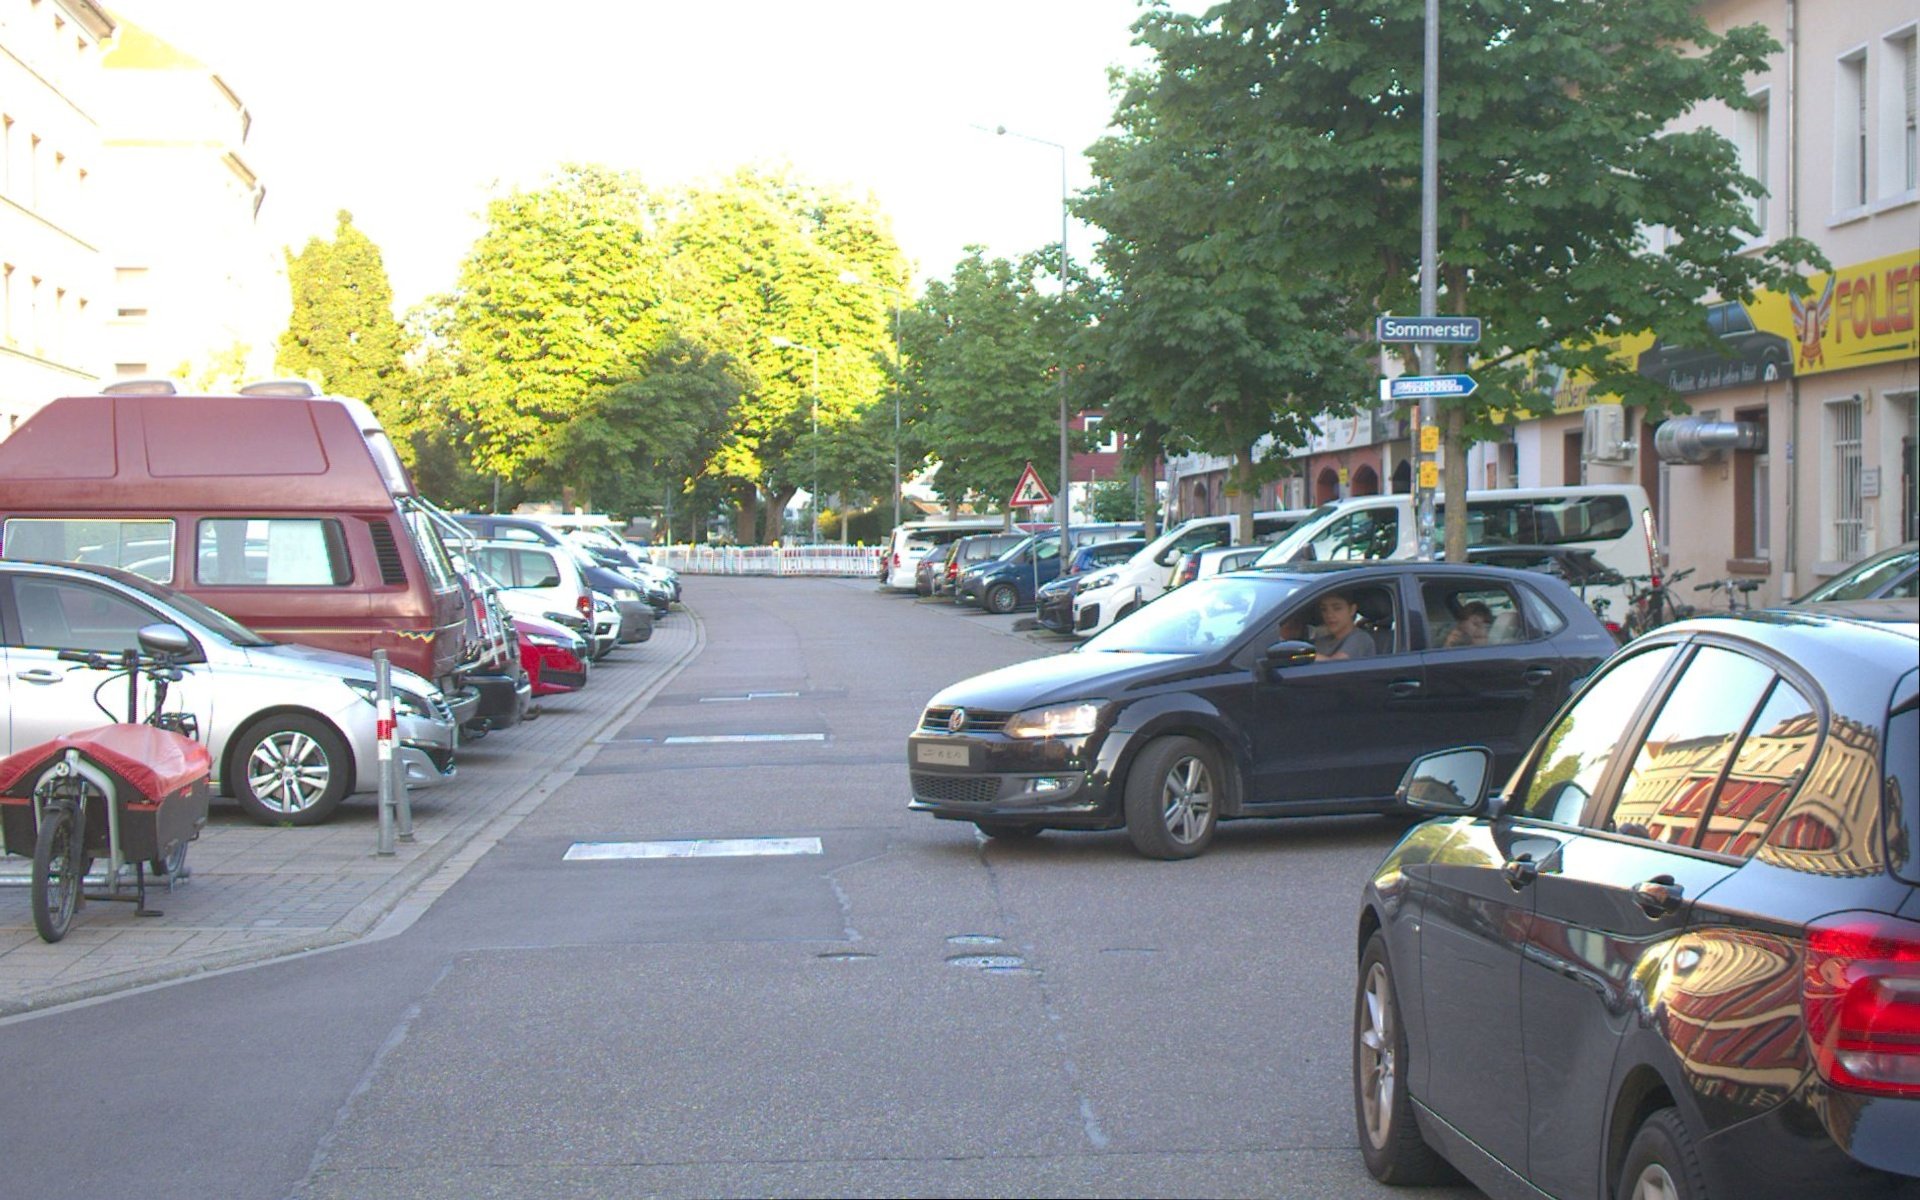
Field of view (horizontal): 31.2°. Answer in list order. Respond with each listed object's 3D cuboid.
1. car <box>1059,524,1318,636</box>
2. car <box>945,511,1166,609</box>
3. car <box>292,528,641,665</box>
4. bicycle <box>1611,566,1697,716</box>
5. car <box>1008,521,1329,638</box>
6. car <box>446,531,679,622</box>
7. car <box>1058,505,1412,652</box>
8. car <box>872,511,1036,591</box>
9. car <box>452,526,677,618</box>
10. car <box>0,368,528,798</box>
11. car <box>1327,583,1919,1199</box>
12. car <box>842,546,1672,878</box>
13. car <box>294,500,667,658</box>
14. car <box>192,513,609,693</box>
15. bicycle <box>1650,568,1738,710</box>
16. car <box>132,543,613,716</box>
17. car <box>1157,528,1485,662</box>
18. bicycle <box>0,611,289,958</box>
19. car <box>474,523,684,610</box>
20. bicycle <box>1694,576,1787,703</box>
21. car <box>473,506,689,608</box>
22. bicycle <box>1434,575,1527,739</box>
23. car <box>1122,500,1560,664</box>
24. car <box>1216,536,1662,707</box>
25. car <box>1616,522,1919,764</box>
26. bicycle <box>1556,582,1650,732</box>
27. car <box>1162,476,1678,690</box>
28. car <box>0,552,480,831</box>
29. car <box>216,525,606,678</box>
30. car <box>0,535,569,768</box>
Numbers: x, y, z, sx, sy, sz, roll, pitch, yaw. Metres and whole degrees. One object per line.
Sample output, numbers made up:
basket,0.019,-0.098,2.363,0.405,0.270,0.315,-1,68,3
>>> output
car,4.023,-0.371,60.921,4.316,1.798,1.811,-2,1,-3
car,2.031,-0.867,73.583,4.478,1.905,1.688,-2,1,-6
car,-6.340,-0.058,44.508,4.256,1.646,1.888,1,1,-2
bicycle,5.808,0.328,28.834,0.353,1.196,1.481,-1,1,-2
car,3.351,-0.346,55.987,4.943,1.683,2.077,-2,1,-3
car,-7.529,-0.462,65.391,4.256,1.616,2.000,1,1,-3
car,4.042,-0.338,51.139,4.943,1.951,2.049,-2,1,-3
car,-0.179,-1.280,88.980,3.967,1.905,2.050,-2,1,-6
car,-7.806,-0.565,68.125,4.256,1.709,2.000,1,1,-2
car,-5.178,-0.136,22.099,4.511,2.575,2.000,1,1,0
car,1.893,0.722,6.631,1.721,1.419,4.254,1,1,-2
car,1.535,0.488,17.402,3.928,1.450,1.658,-2,2,-29
car,-6.513,-0.295,47.056,4.850,2.014,1.907,1,1,-2
car,-6.072,0.012,37.684,4.256,1.830,2.000,1,1,-2
bicycle,6.165,0.311,28.924,0.353,1.139,1.481,-1,1,-2
car,-5.449,0.255,32.281,4.209,1.484,1.850,1,1,-1
car,4.564,-0.082,43.895,3.911,1.521,1.939,-2,1,-1
bicycle,-3.463,0.695,14.279,0.807,1.217,2.865,1,1,-1
car,-8.047,-0.718,72.891,4.256,1.743,2.000,1,1,-2
bicycle,6.568,0.319,28.980,0.387,1.013,1.481,-1,1,-2
car,-8.297,-0.949,75.519,4.533,2.127,2.000,1,1,-2
bicycle,4.375,0.455,28.997,0.386,1.300,2.017,-1,1,-2
car,4.507,-0.227,41.256,4.944,1.736,2.049,-2,1,-1
car,4.569,0.182,33.129,3.918,1.446,1.769,-2,1,-4
car,6.760,0.242,23.825,4.050,1.509,1.756,-1,3,-1
bicycle,5.381,0.460,28.834,0.445,1.196,1.481,-1,1,-2
car,4.728,-0.192,35.915,4.989,1.976,2.220,-2,1,-1
car,-5.114,0.474,19.531,4.615,1.455,1.881,1,1,-5
car,-6.352,0.003,40.150,4.256,1.654,2.000,1,1,-2
car,-4.977,0.342,24.682,4.208,1.533,1.791,1,1,-4
